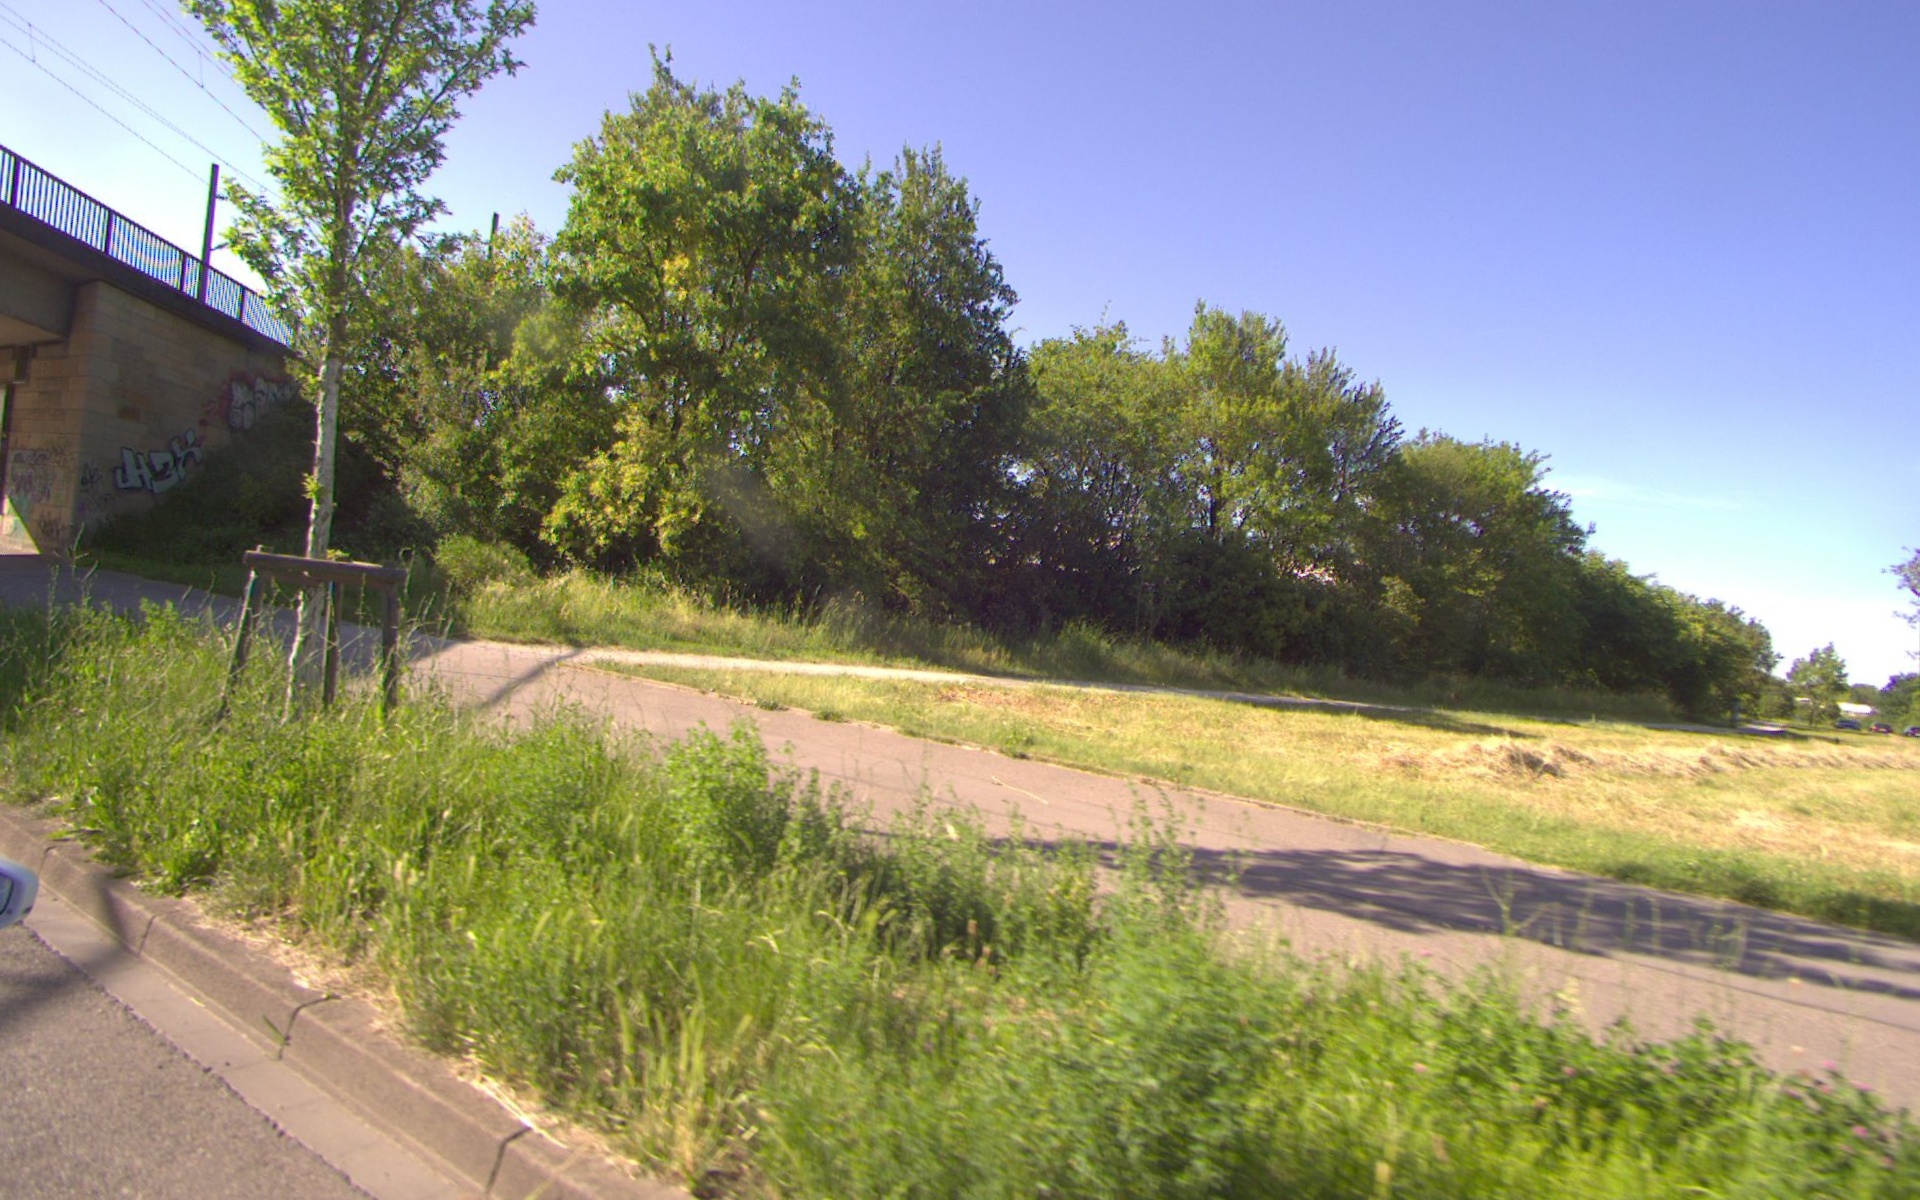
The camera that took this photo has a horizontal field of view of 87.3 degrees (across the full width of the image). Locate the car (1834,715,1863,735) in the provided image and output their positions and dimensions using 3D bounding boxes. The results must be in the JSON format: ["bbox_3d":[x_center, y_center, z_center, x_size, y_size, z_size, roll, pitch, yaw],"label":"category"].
[{"bbox_3d":[88.289,12.427,99.983,1.972,1.658,3.985,6,-3,41],"label":"car"}]

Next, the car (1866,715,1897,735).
[{"bbox_3d":[90.144,12.238,98.427,1.972,1.525,3.985,6,-3,41],"label":"car"}]

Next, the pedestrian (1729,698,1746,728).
[{"bbox_3d":[42.896,6.235,55.482,0.534,1.546,0.531,6,-1,45],"label":"pedestrian"}]

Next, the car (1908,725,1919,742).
[{"bbox_3d":[92.356,12.851,94.956,3.945,1.436,1.992,6,-3,42],"label":"car"}]
